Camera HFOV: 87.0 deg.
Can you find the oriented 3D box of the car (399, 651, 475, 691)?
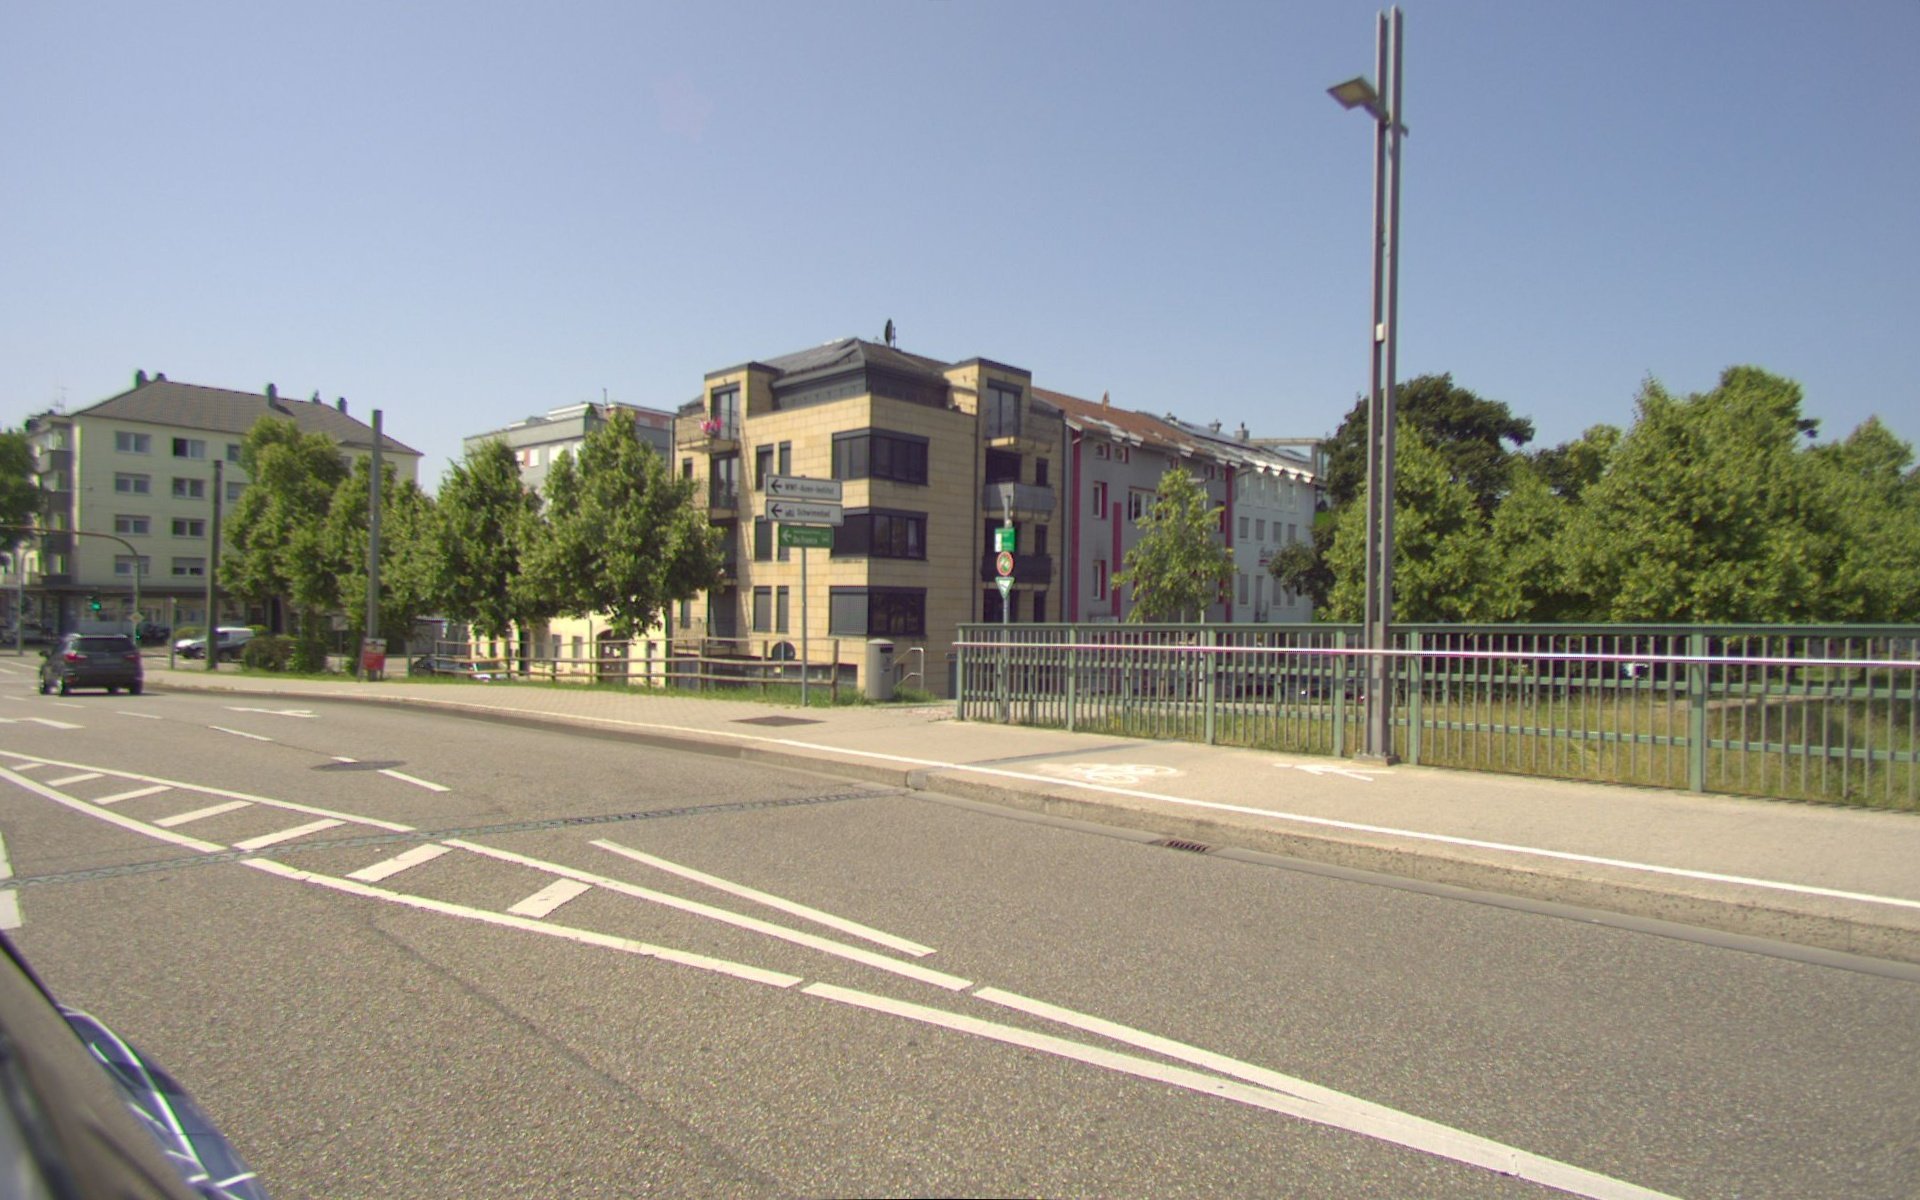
[{"bbox_3d":[-26.689,3.594,51.592,5.288,1.640,1.794,1,-2,44],"label":"car"}]

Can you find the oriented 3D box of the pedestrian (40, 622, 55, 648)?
[{"bbox_3d":[-62.993,2.381,69.867,0.741,1.773,0.621,0,-1,36],"label":"pedestrian"}]

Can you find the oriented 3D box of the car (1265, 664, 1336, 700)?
[{"bbox_3d":[17.136,4.082,50.875,2.000,1.662,3.944,-1,-3,42],"label":"car"}]

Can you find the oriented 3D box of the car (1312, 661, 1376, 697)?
[{"bbox_3d":[20.961,4.268,55.186,2.000,1.662,3.944,-1,-1,42],"label":"car"}]

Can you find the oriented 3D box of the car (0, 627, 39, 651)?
[{"bbox_3d":[-63.265,2.604,67.802,3.933,1.469,1.568,1,0,37],"label":"car"}]

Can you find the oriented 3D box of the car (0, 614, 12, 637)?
[{"bbox_3d":[-69.610,1.809,72.566,4.831,1.581,1.607,1,0,37],"label":"car"}]

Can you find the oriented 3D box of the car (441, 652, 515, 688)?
[{"bbox_3d":[-22.845,3.283,47.866,4.431,1.443,1.756,-1,0,44],"label":"car"}]

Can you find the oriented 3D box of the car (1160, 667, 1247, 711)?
[{"bbox_3d":[10.479,3.773,43.408,2.000,1.662,3.944,-1,-3,42],"label":"car"}]

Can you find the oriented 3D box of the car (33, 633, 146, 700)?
[{"bbox_3d":[-23.959,1.793,27.825,3.919,1.653,1.719,-1,-4,41],"label":"car"}]

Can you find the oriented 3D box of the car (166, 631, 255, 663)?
[{"bbox_3d":[-43.553,2.743,58.871,1.890,1.748,3.654,1,-2,35],"label":"car"}]
